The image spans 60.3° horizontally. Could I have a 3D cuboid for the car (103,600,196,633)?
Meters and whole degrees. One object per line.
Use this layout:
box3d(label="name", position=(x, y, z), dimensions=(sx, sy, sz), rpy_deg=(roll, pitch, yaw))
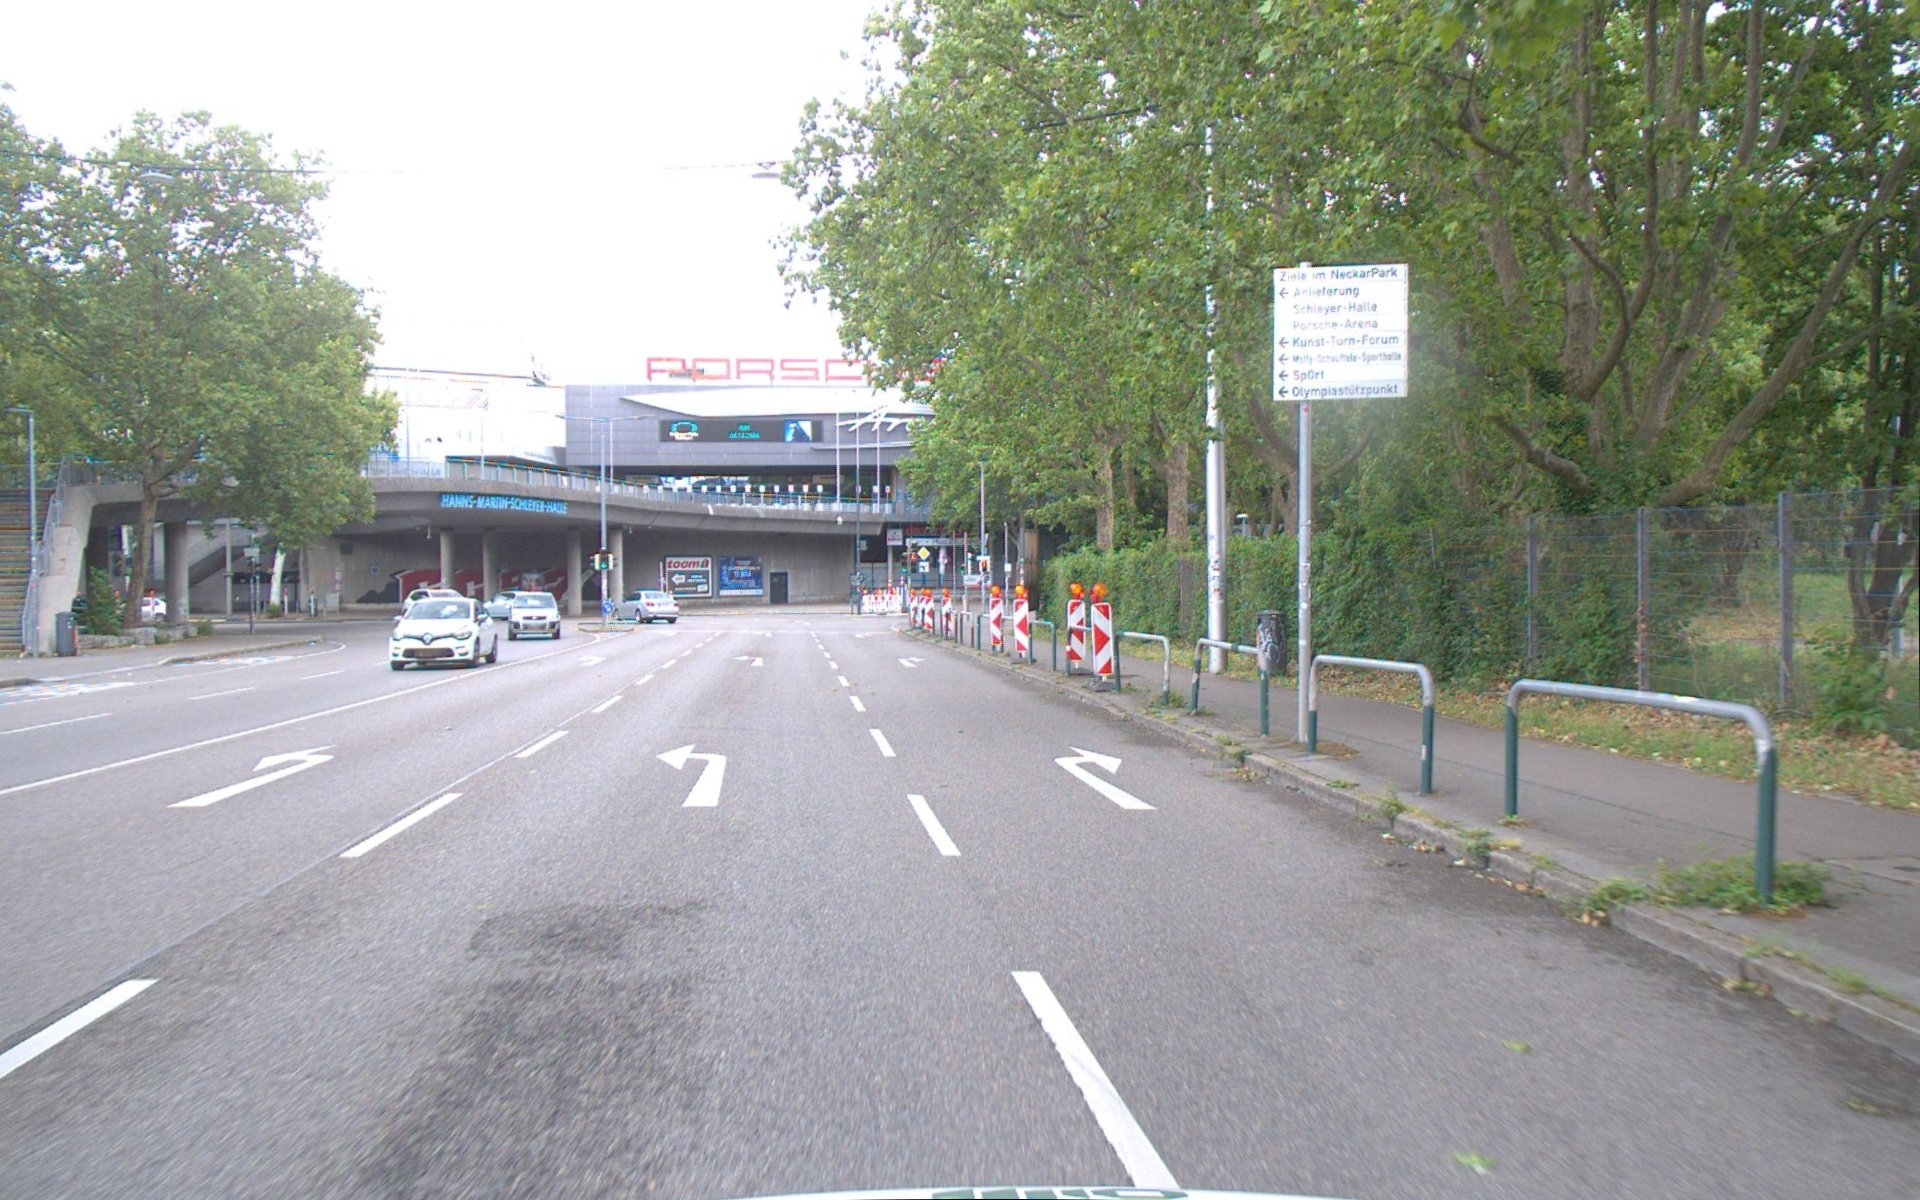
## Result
box3d(label="car", position=(-42.524, 0.840, 86.824), dimensions=(3.910, 1.689, 1.998), rpy_deg=(0, 0, -6))

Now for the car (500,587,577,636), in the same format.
box3d(label="car", position=(-14.257, 0.375, 56.138), dimensions=(1.955, 1.552, 3.994), rpy_deg=(-1, 0, -7))

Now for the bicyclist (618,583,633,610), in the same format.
box3d(label="bicyclist", position=(-21.278, -0.207, 105.225), dimensions=(0.836, 1.727, 0.765), rpy_deg=(1, 0, -10))

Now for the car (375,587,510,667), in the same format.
box3d(label="car", position=(-10.922, 0.524, 35.210), dimensions=(1.956, 1.557, 4.378), rpy_deg=(-1, 1, -7))

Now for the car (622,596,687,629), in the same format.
box3d(label="car", position=(-14.199, 0.562, 76.805), dimensions=(1.970, 1.443, 3.966), rpy_deg=(0, 0, -27))

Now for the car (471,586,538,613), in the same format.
box3d(label="car", position=(-23.485, -0.029, 85.239), dimensions=(3.326, 1.336, 1.610), rpy_deg=(0, 0, 35))

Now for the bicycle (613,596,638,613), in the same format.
box3d(label="bicycle", position=(-21.281, 0.301, 105.217), dimensions=(1.505, 1.031, 0.515), rpy_deg=(1, 0, -10))

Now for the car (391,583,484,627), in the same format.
box3d(label="car", position=(-21.932, 0.223, 69.342), dimensions=(1.984, 1.775, 4.521), rpy_deg=(0, 0, -43))
